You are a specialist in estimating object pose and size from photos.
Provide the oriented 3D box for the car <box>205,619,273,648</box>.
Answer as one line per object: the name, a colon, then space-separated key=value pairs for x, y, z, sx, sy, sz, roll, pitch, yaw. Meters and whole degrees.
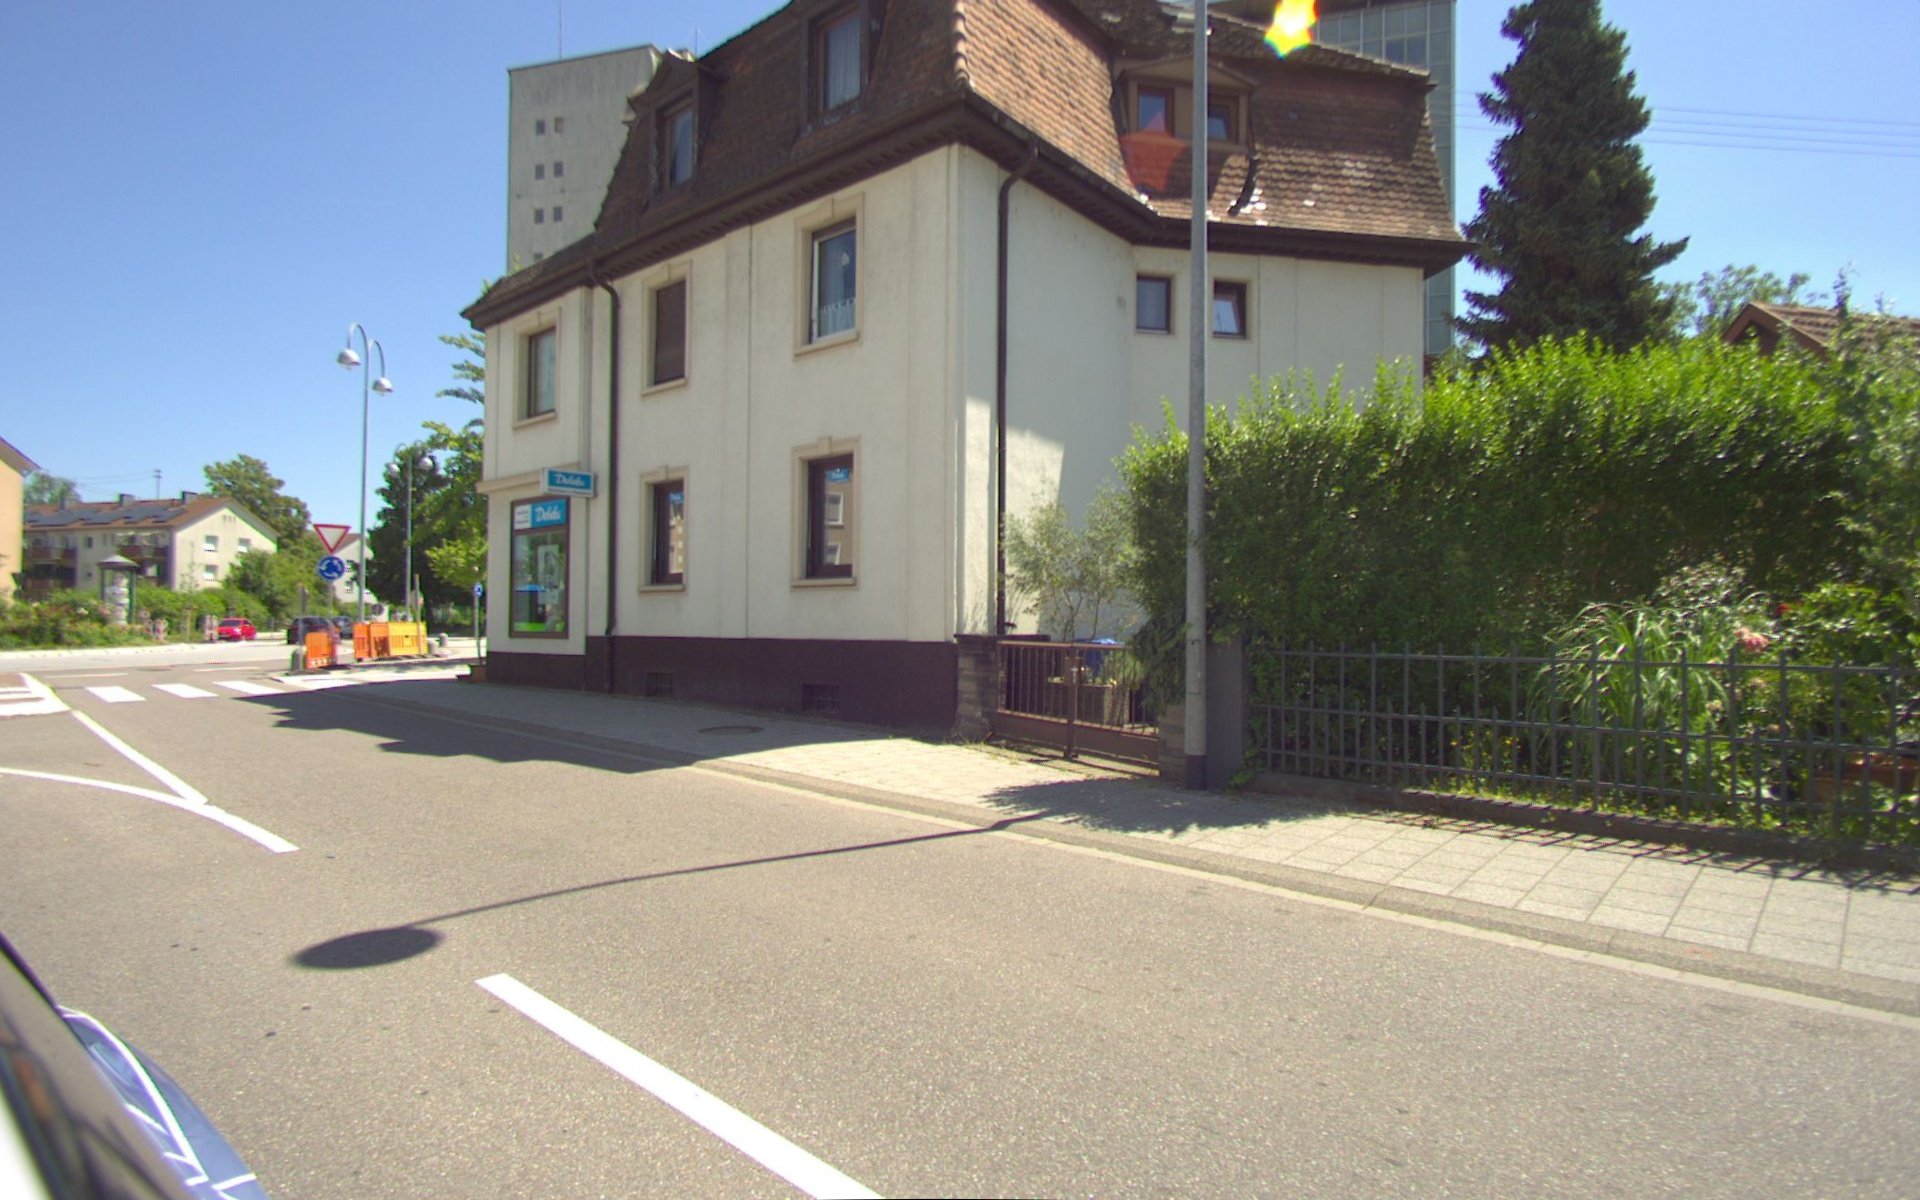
car: x=-42.270 y=1.927 z=59.394 sx=1.708 sy=1.613 sz=3.944 roll=0 pitch=-1 yaw=-10

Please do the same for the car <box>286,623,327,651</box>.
car: x=-33.236 y=1.868 z=51.500 sx=1.702 sy=1.305 sz=4.011 roll=-1 pitch=0 yaw=-32

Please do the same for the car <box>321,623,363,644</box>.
car: x=-42.009 y=2.252 z=68.871 sx=1.754 sy=1.366 sz=4.067 roll=1 pitch=-2 yaw=-22
